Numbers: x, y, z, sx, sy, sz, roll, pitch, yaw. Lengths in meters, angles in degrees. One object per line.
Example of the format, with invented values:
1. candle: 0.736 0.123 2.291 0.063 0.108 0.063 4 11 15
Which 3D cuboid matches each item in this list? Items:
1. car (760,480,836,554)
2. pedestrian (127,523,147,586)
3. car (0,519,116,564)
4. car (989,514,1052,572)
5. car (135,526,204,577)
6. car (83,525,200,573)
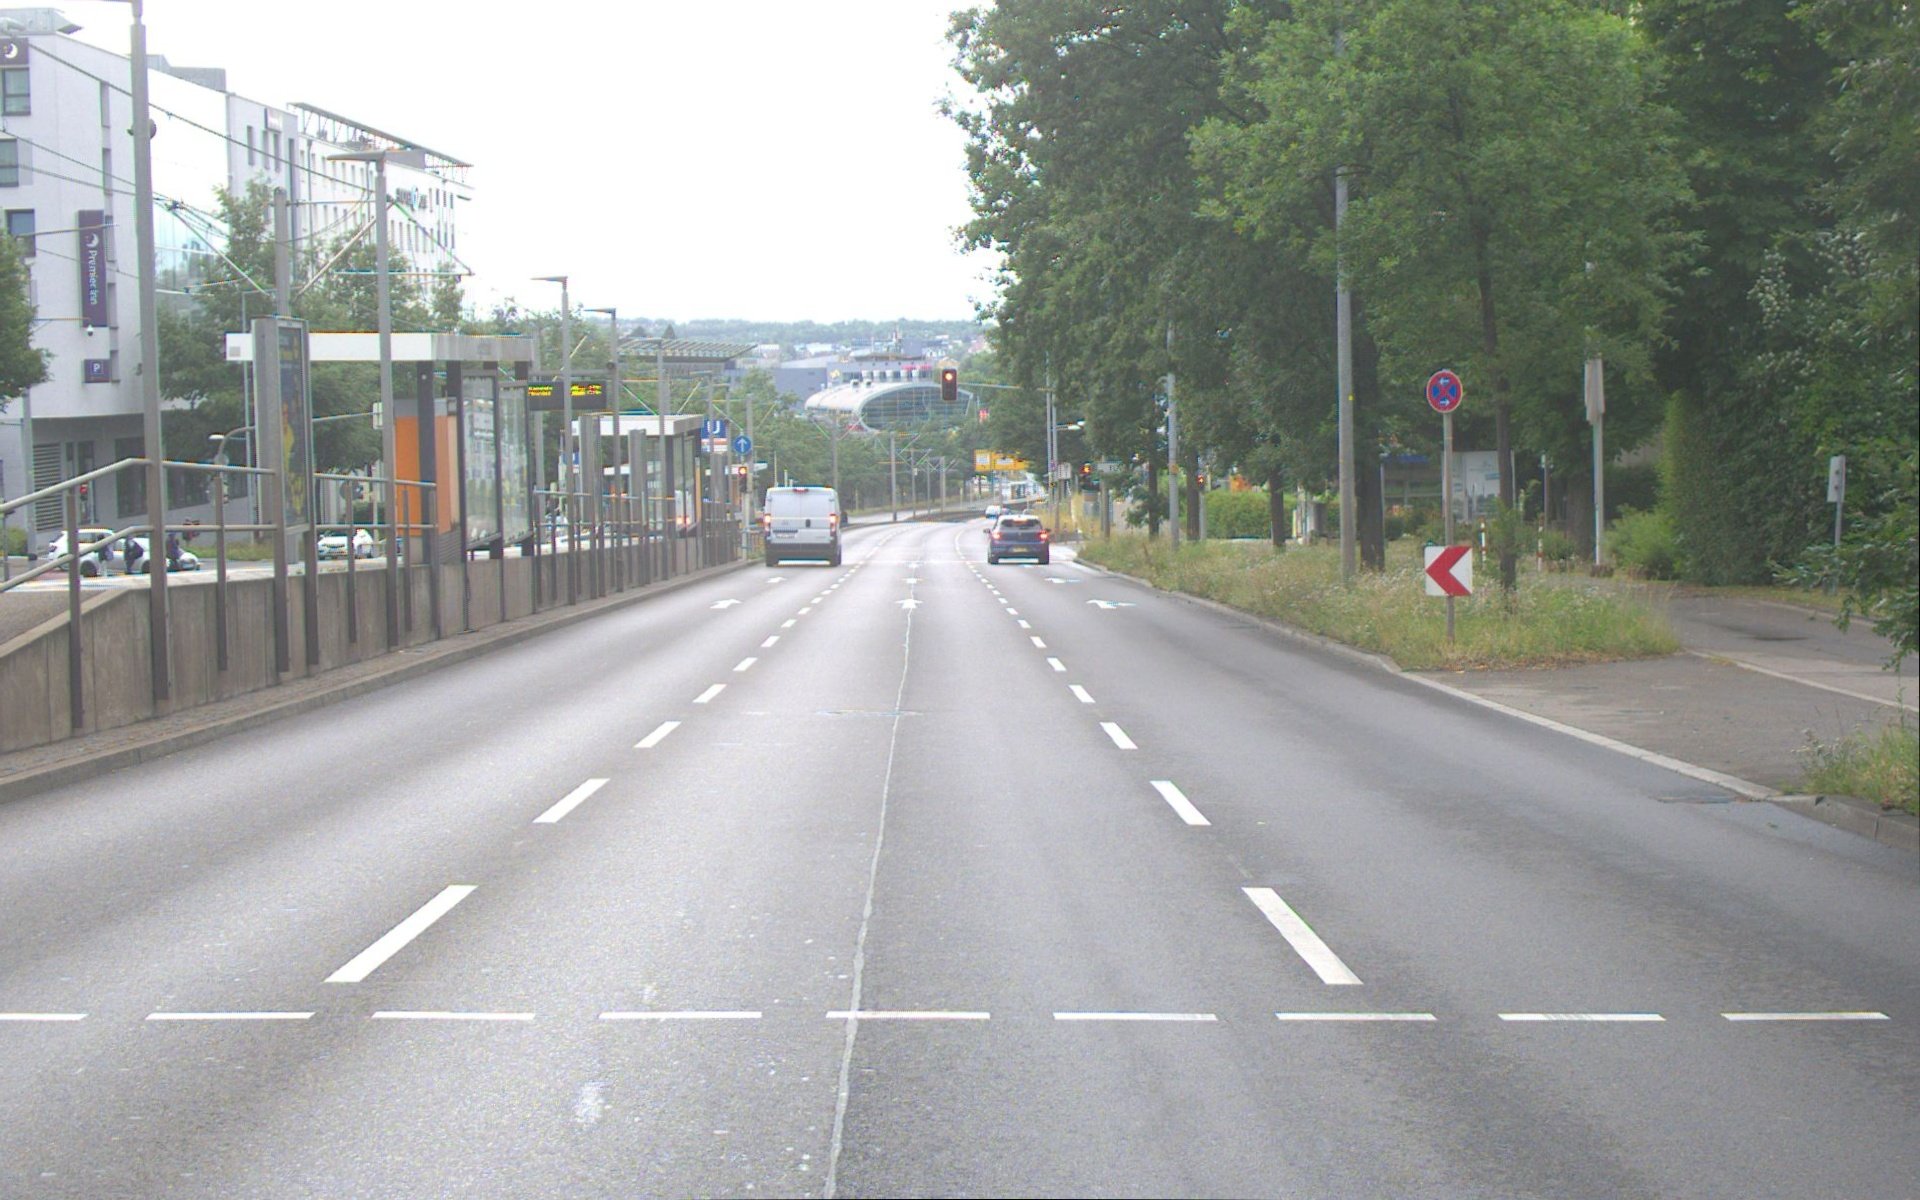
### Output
1. car: -4.599 -2.378 98.092 2.093 2.046 4.607 0 1 -2
2. pedestrian: -25.154 -1.393 105.095 0.475 1.914 0.490 0 1 -1
3. car: -32.107 -2.067 122.006 4.087 1.431 1.656 -3 1 -15
4. car: 1.803 -1.725 102.828 1.774 1.685 3.846 0 1 -1
5. car: -23.817 -1.458 103.476 1.650 1.431 3.881 -3 1 -18
6. car: -27.394 -1.706 115.040 3.875 1.431 1.652 -1 2 36
